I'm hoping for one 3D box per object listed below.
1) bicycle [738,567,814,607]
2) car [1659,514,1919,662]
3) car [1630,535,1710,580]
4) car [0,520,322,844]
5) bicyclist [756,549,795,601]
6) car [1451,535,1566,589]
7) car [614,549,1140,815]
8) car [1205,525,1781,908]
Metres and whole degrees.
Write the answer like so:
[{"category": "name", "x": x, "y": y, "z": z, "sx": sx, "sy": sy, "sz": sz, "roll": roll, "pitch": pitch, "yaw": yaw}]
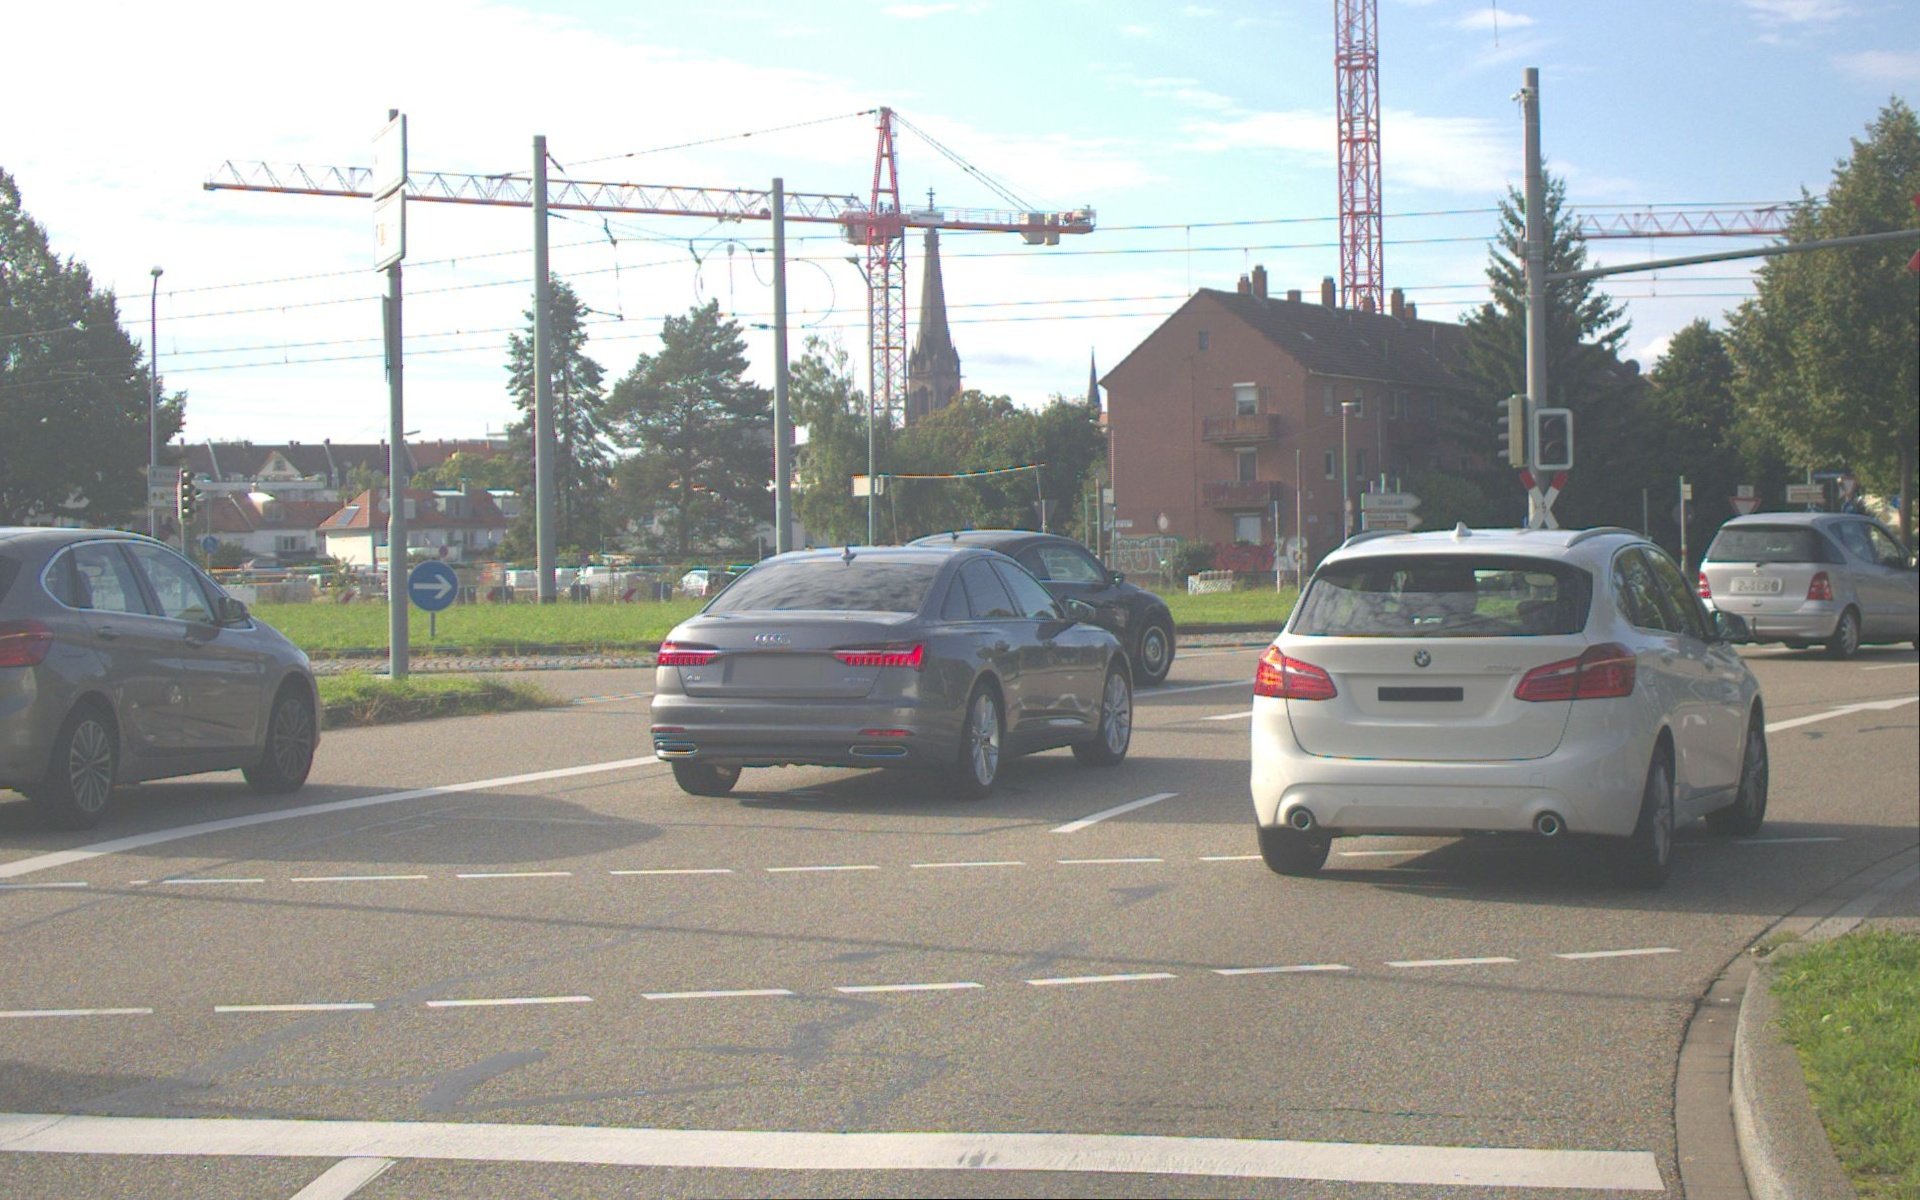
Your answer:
[{"category": "bicycle", "x": -5.616, "y": -0.390, "z": 105.062, "sx": 2.144, "sy": 1.133, "sz": 0.772, "roll": -2, "pitch": 1, "yaw": 11}, {"category": "car", "x": 9.409, "y": -0.180, "z": 37.601, "sx": 1.854, "sy": 1.473, "sz": 4.446, "roll": 1, "pitch": 2, "yaw": 35}, {"category": "car", "x": 29.916, "y": -1.784, "z": 144.743, "sx": 1.899, "sy": 1.896, "sz": 4.653, "roll": 1, "pitch": 1, "yaw": 30}, {"category": "car", "x": -5.015, "y": 0.368, "z": 18.761, "sx": 1.768, "sy": 1.567, "sz": 4.066, "roll": 0, "pitch": 1, "yaw": 9}, {"category": "bicyclist", "x": -5.637, "y": -0.765, "z": 105.059, "sx": 0.957, "sy": 1.569, "sz": 0.772, "roll": -2, "pitch": 1, "yaw": 11}, {"category": "car", "x": 19.798, "y": -1.371, "z": 123.914, "sx": 1.900, "sy": 1.896, "sz": 4.650, "roll": 1, "pitch": 1, "yaw": 41}, {"category": "car", "x": -0.361, "y": 0.416, "z": 21.158, "sx": 1.852, "sy": 1.440, "sz": 4.711, "roll": 0, "pitch": 1, "yaw": 17}, {"category": "car", "x": 2.705, "y": 0.448, "z": 16.503, "sx": 1.852, "sy": 1.567, "sz": 4.450, "roll": 0, "pitch": 1, "yaw": 21}]
